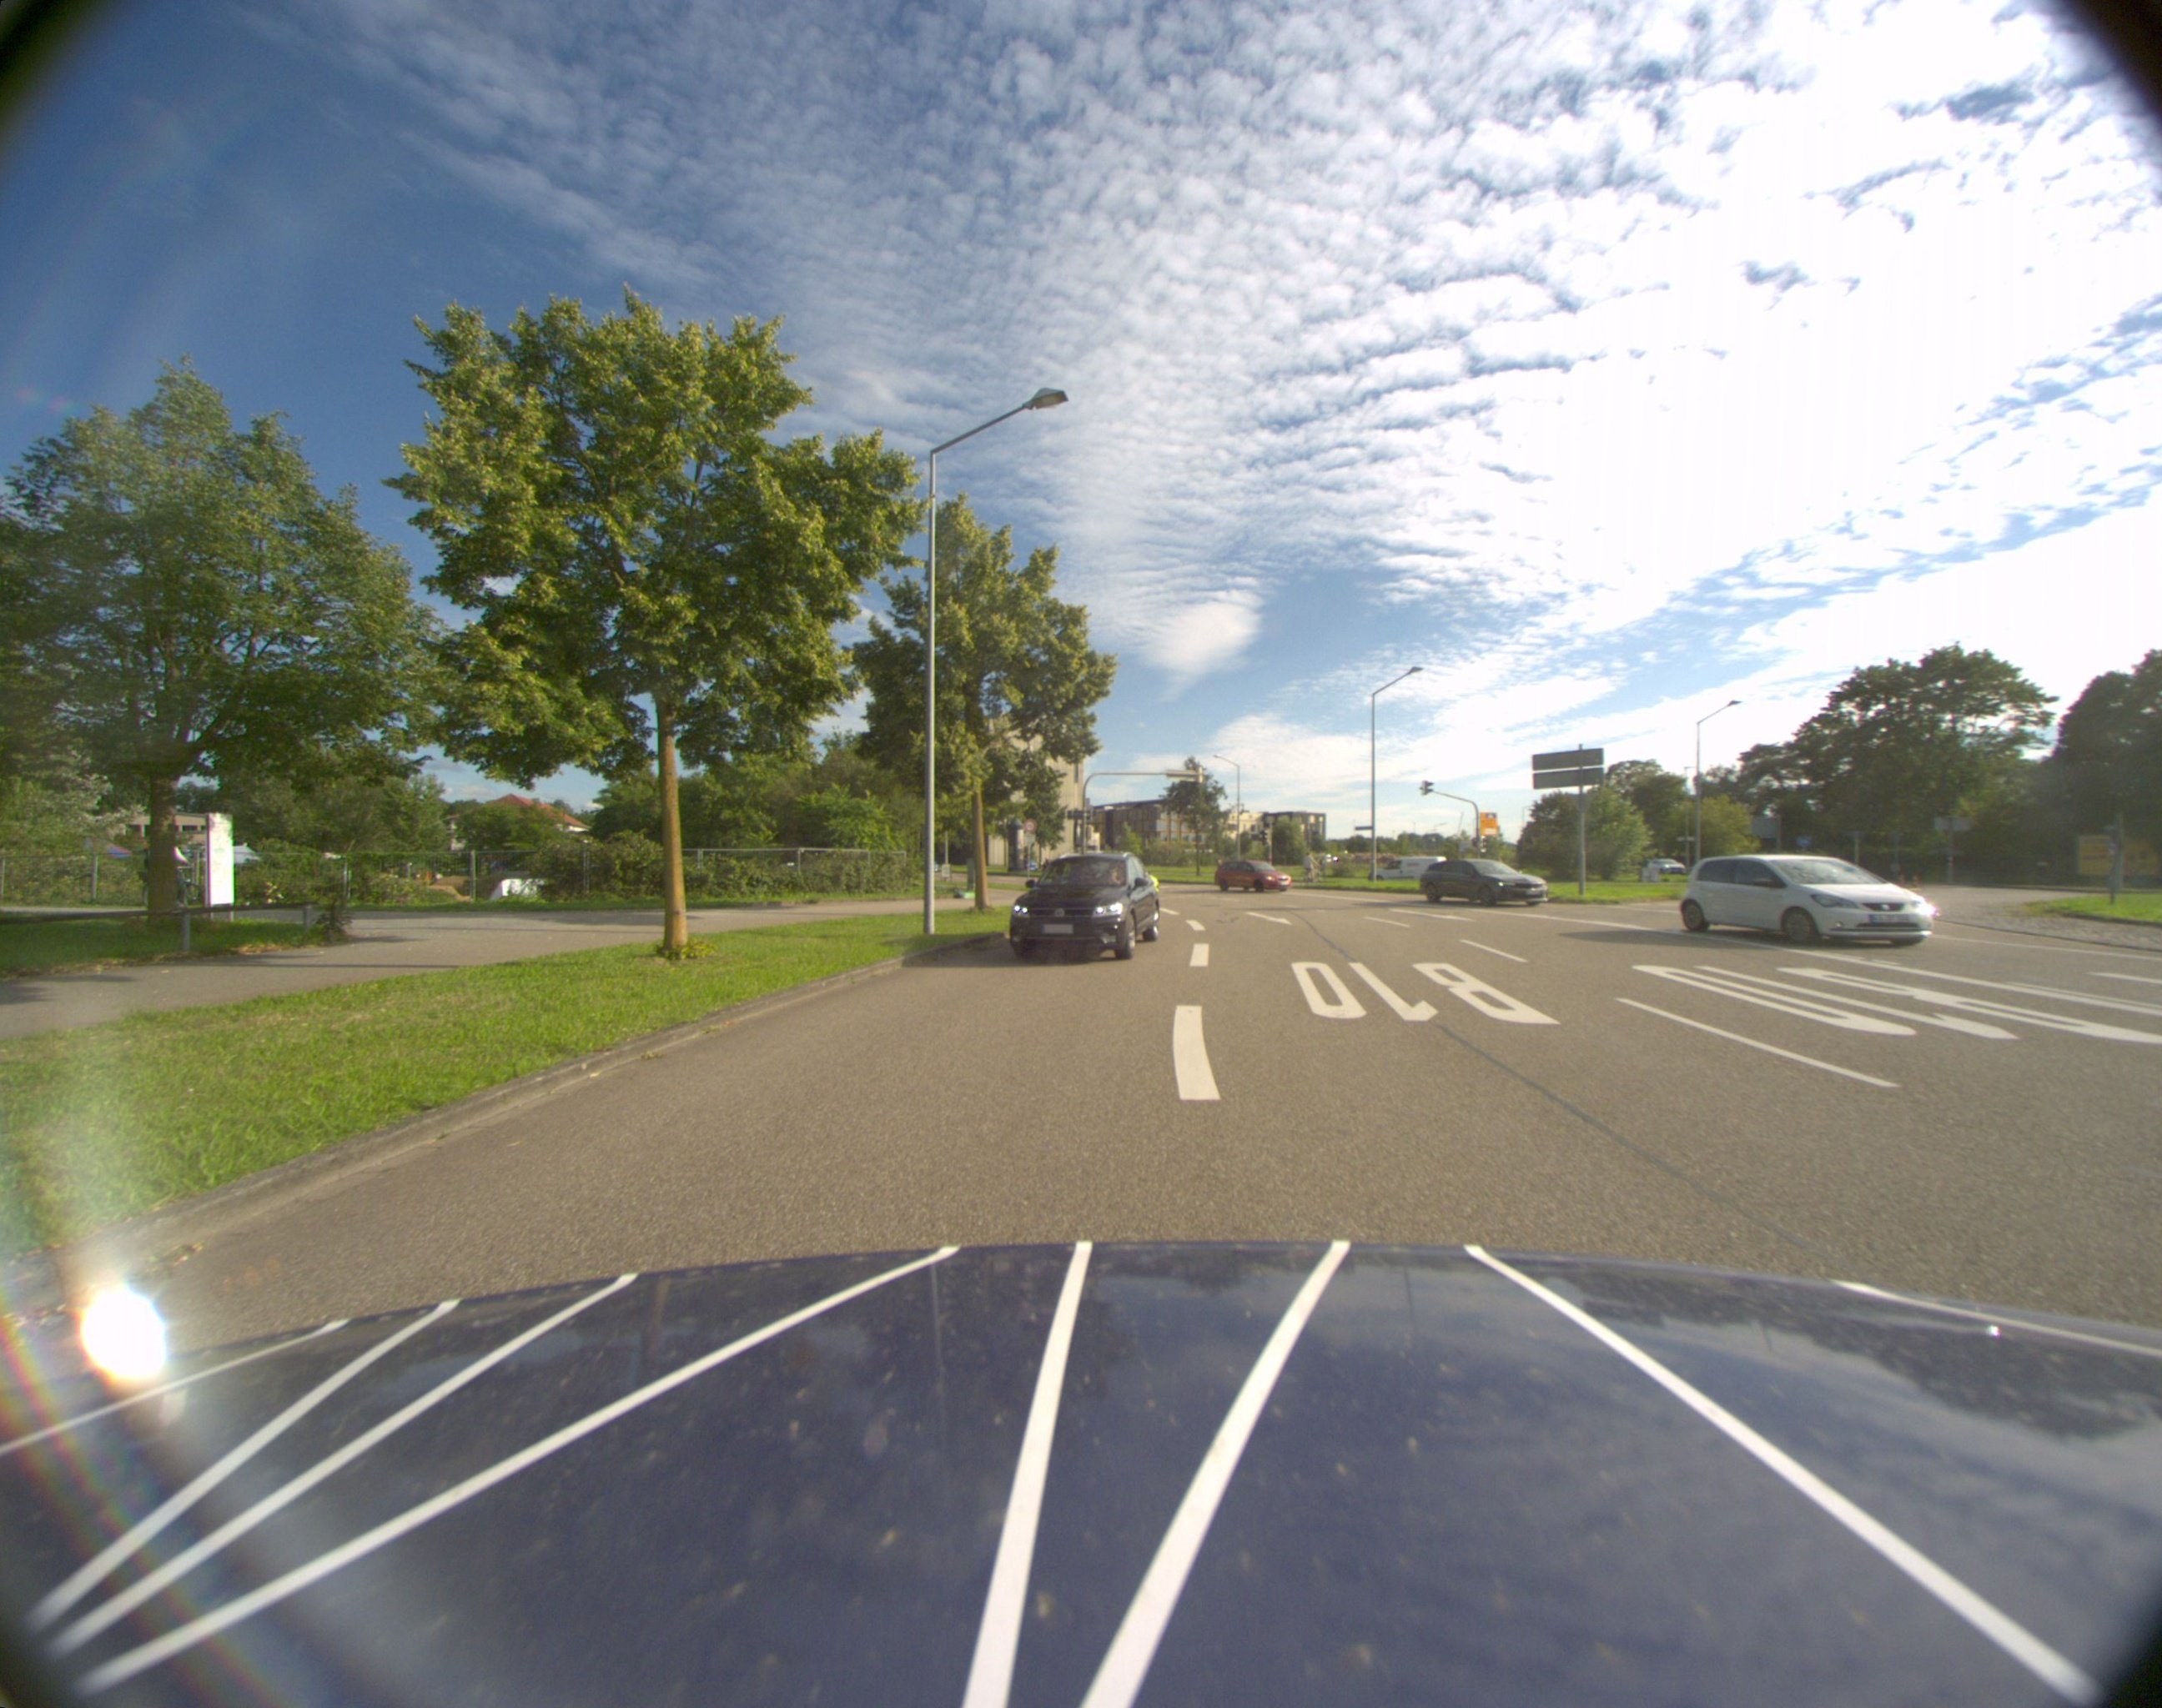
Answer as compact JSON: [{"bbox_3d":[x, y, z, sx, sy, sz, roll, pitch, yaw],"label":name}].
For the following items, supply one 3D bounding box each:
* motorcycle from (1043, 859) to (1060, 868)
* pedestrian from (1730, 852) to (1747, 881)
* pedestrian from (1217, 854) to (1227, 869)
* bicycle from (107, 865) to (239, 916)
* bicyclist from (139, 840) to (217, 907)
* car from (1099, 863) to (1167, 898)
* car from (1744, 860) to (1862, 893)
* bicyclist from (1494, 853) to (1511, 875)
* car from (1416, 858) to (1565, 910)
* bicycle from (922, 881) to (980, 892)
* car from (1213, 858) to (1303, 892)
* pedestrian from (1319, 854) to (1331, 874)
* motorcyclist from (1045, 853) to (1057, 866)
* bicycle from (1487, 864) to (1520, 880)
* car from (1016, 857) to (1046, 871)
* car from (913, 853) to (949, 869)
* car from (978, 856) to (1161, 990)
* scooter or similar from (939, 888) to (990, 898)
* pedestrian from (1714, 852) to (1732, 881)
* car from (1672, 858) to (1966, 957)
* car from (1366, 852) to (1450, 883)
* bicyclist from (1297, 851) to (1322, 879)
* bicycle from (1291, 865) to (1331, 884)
[{"bbox_3d":[-3.019,0.961,77.872,0.786,0.980,2.018,0,0,-33],"label":"motorcycle"},{"bbox_3d":[44.773,0.831,51.746,0.864,1.905,0.898,0,3,43],"label":"pedestrian"},{"bbox_3d":[13.954,0.728,75.082,0.629,1.500,0.755,-4,3,-30],"label":"pedestrian"},{"bbox_3d":[-21.348,0.842,17.870,2.597,1.119,0.804,0,1,11],"label":"bicycle"},{"bbox_3d":[-21.185,0.440,17.838,0.903,1.538,0.804,0,1,10],"label":"bicyclist"},{"bbox_3d":[2.358,1.184,35.509,1.898,1.412,4.602,-2,0,-13],"label":"car"},{"bbox_3d":[35.751,1.110,37.715,3.988,1.492,1.687,1,-1,9],"label":"car"},{"bbox_3d":[27.562,0.670,49.660,0.698,1.437,0.611,1,1,-3],"label":"bicyclist"},{"bbox_3d":[13.080,0.901,24.644,1.825,1.412,4.442,-1,1,-12],"label":"car"},{"bbox_3d":[-5.630,1.409,32.871,2.245,0.344,1.092,-3,-1,24],"label":"bicycle"},{"bbox_3d":[8.313,0.953,35.989,1.697,1.466,4.217,-2,1,-31],"label":"car"},{"bbox_3d":[20.415,0.806,63.505,0.629,1.620,0.656,-2,1,-30],"label":"pedestrian"},{"bbox_3d":[-3.084,0.584,77.941,0.786,1.358,0.941,0,0,-32],"label":"motorcyclist"},{"bbox_3d":[27.603,1.169,49.677,1.837,0.982,0.611,0,0,-4],"label":"bicycle"},{"bbox_3d":[-5.648,1.074,85.077,1.786,1.492,3.985,2,-1,-28],"label":"car"},{"bbox_3d":[-15.807,0.719,79.921,2.004,1.652,4.790,0,1,-33],"label":"car"},{"bbox_3d":[0.075,0.904,12.526,1.869,1.685,5.020,0,1,13],"label":"car"},{"bbox_3d":[-4.592,1.545,30.106,1.289,0.279,1.557,0,0,34],"label":"scooter or similar"},{"bbox_3d":[43.986,0.848,52.061,0.864,1.905,0.898,0,3,43],"label":"pedestrian"},{"bbox_3d":[12.413,0.816,13.154,1.765,1.455,3.662,-1,0,6],"label":"car"},{"bbox_3d":[20.660,0.847,48.102,4.548,1.814,1.690,0,-1,42],"label":"car"},{"bbox_3d":[12.651,0.608,42.094,0.867,1.547,0.995,0,1,-27],"label":"bicyclist"},{"bbox_3d":[12.740,1.121,42.139,1.964,1.001,1.000,0,0,-27],"label":"bicycle"}]
